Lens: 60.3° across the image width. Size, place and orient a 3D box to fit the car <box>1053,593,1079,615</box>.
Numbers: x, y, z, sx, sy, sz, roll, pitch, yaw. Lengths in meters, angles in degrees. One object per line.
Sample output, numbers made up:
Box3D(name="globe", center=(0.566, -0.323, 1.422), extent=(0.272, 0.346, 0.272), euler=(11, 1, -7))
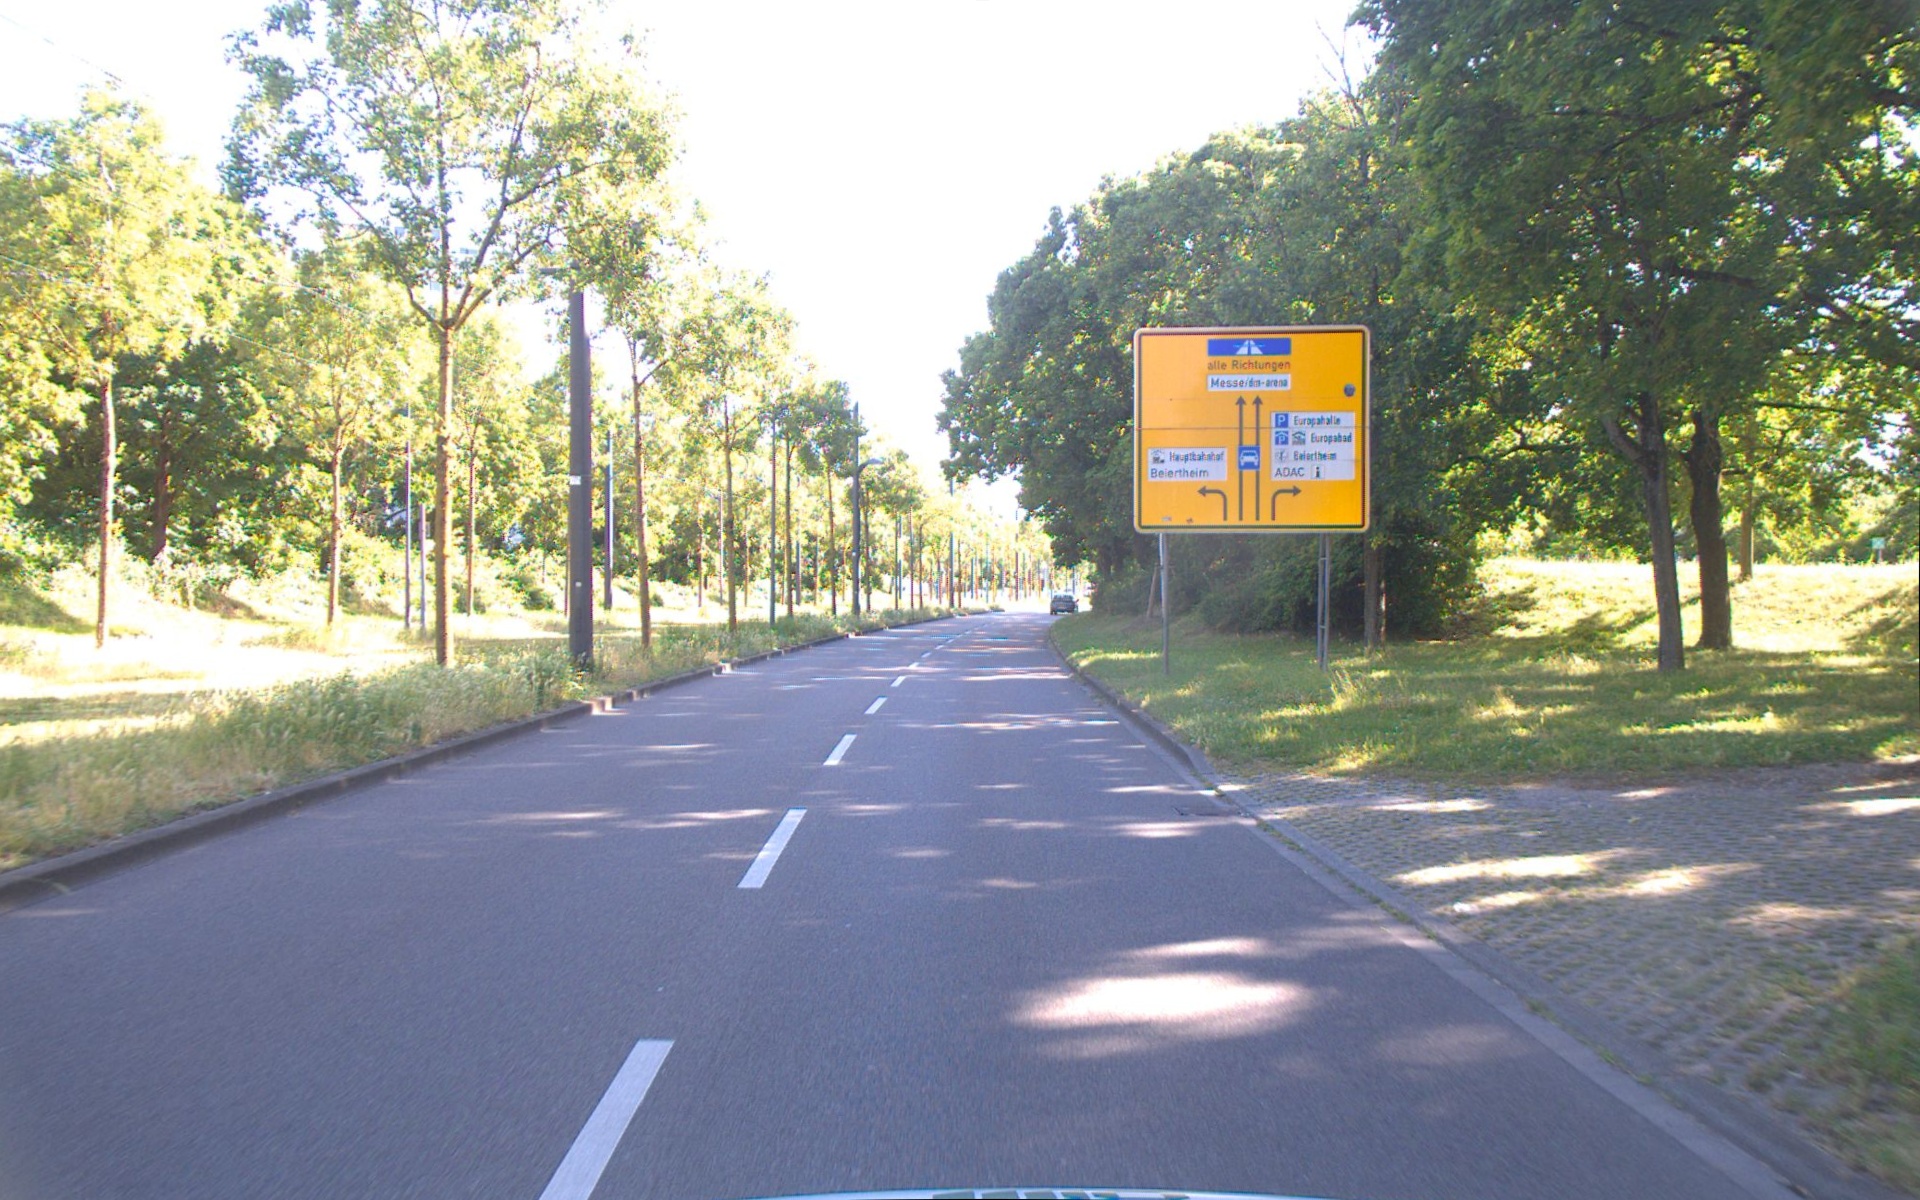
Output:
Box3D(name="car", center=(7.401, 0.263, 115.564), extent=(1.599, 1.524, 4.237), euler=(1, 0, 6))
